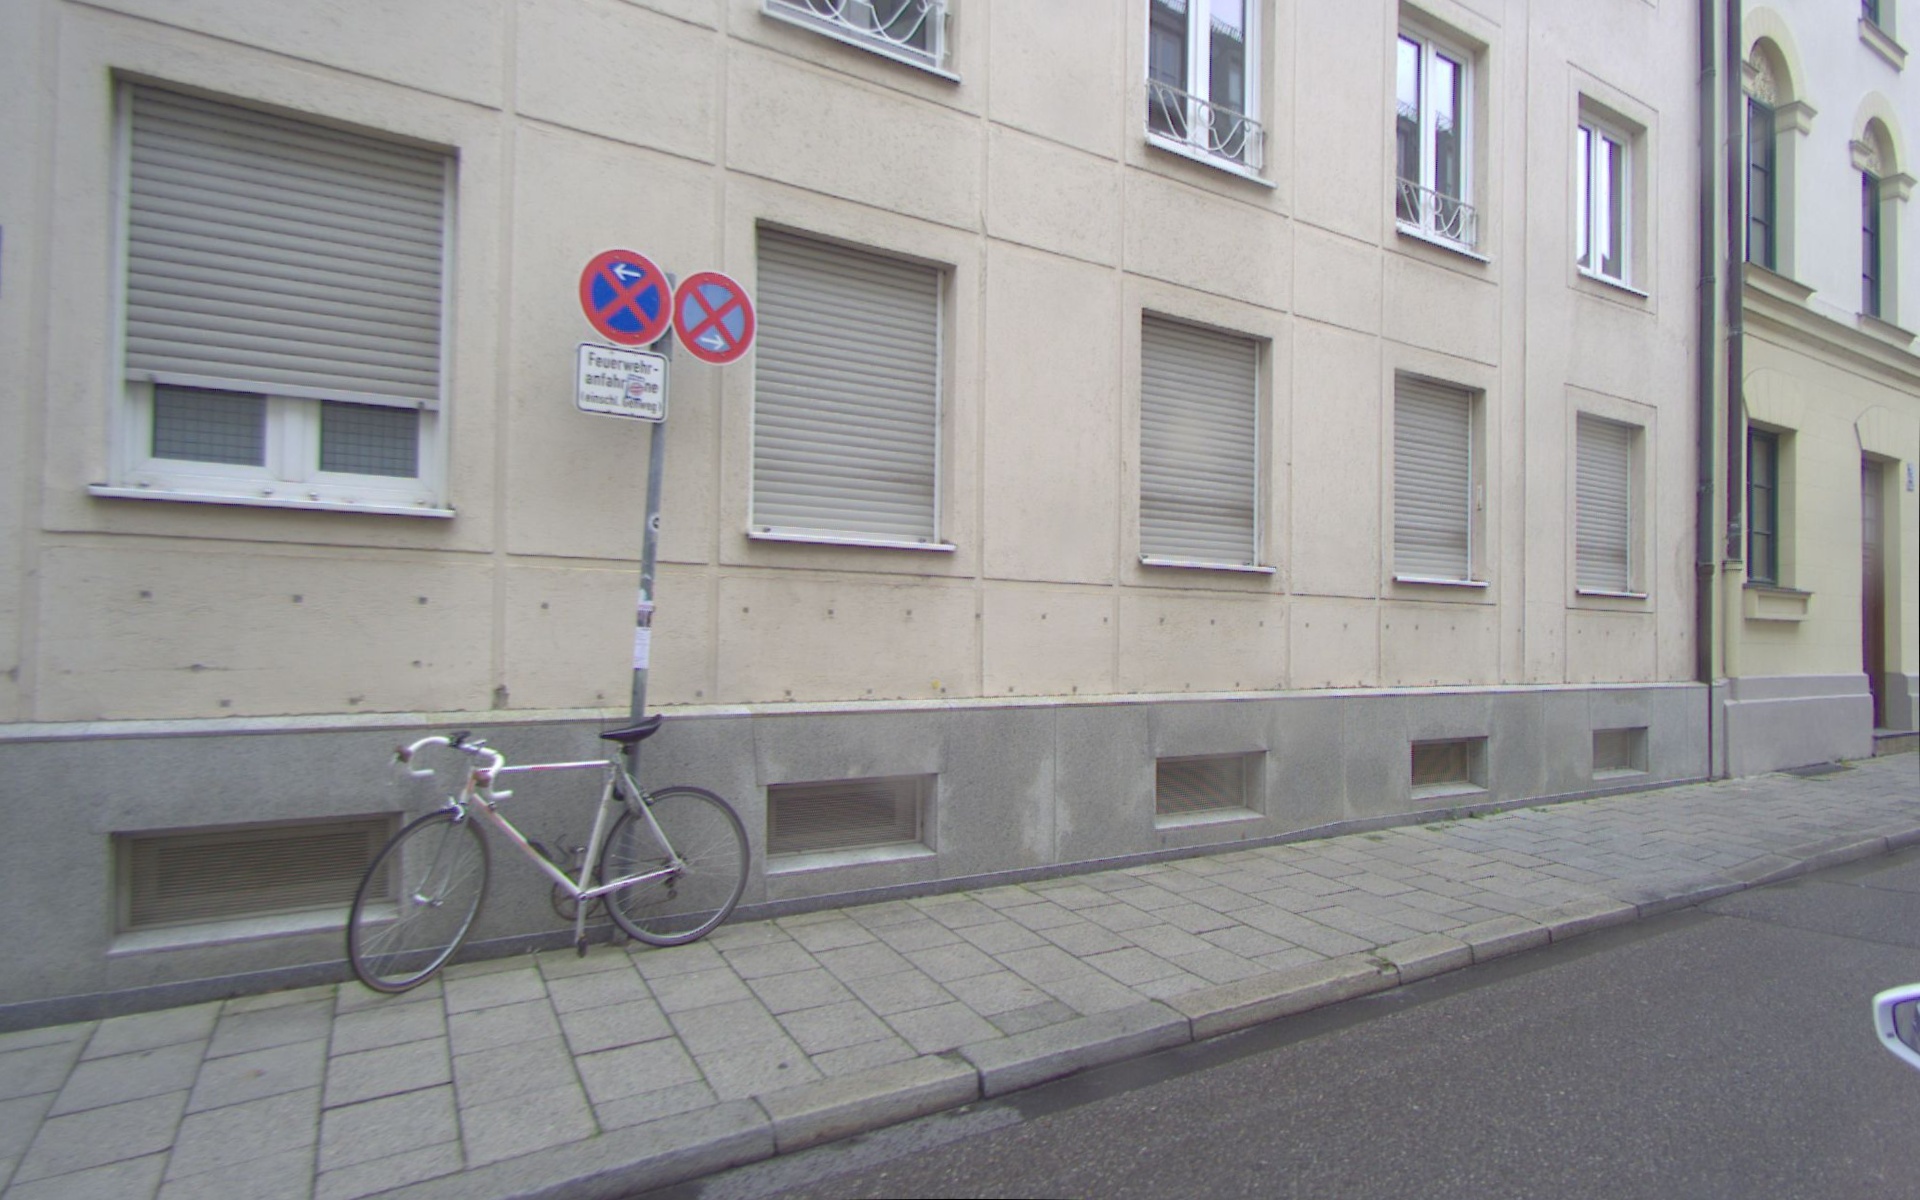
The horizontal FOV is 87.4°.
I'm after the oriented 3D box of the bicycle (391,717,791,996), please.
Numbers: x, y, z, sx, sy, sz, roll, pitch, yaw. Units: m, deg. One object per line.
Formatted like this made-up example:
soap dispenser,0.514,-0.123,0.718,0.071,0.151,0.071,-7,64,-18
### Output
bicycle,-1.526,1.025,4.294,1.555,0.956,0.318,1,1,-29
